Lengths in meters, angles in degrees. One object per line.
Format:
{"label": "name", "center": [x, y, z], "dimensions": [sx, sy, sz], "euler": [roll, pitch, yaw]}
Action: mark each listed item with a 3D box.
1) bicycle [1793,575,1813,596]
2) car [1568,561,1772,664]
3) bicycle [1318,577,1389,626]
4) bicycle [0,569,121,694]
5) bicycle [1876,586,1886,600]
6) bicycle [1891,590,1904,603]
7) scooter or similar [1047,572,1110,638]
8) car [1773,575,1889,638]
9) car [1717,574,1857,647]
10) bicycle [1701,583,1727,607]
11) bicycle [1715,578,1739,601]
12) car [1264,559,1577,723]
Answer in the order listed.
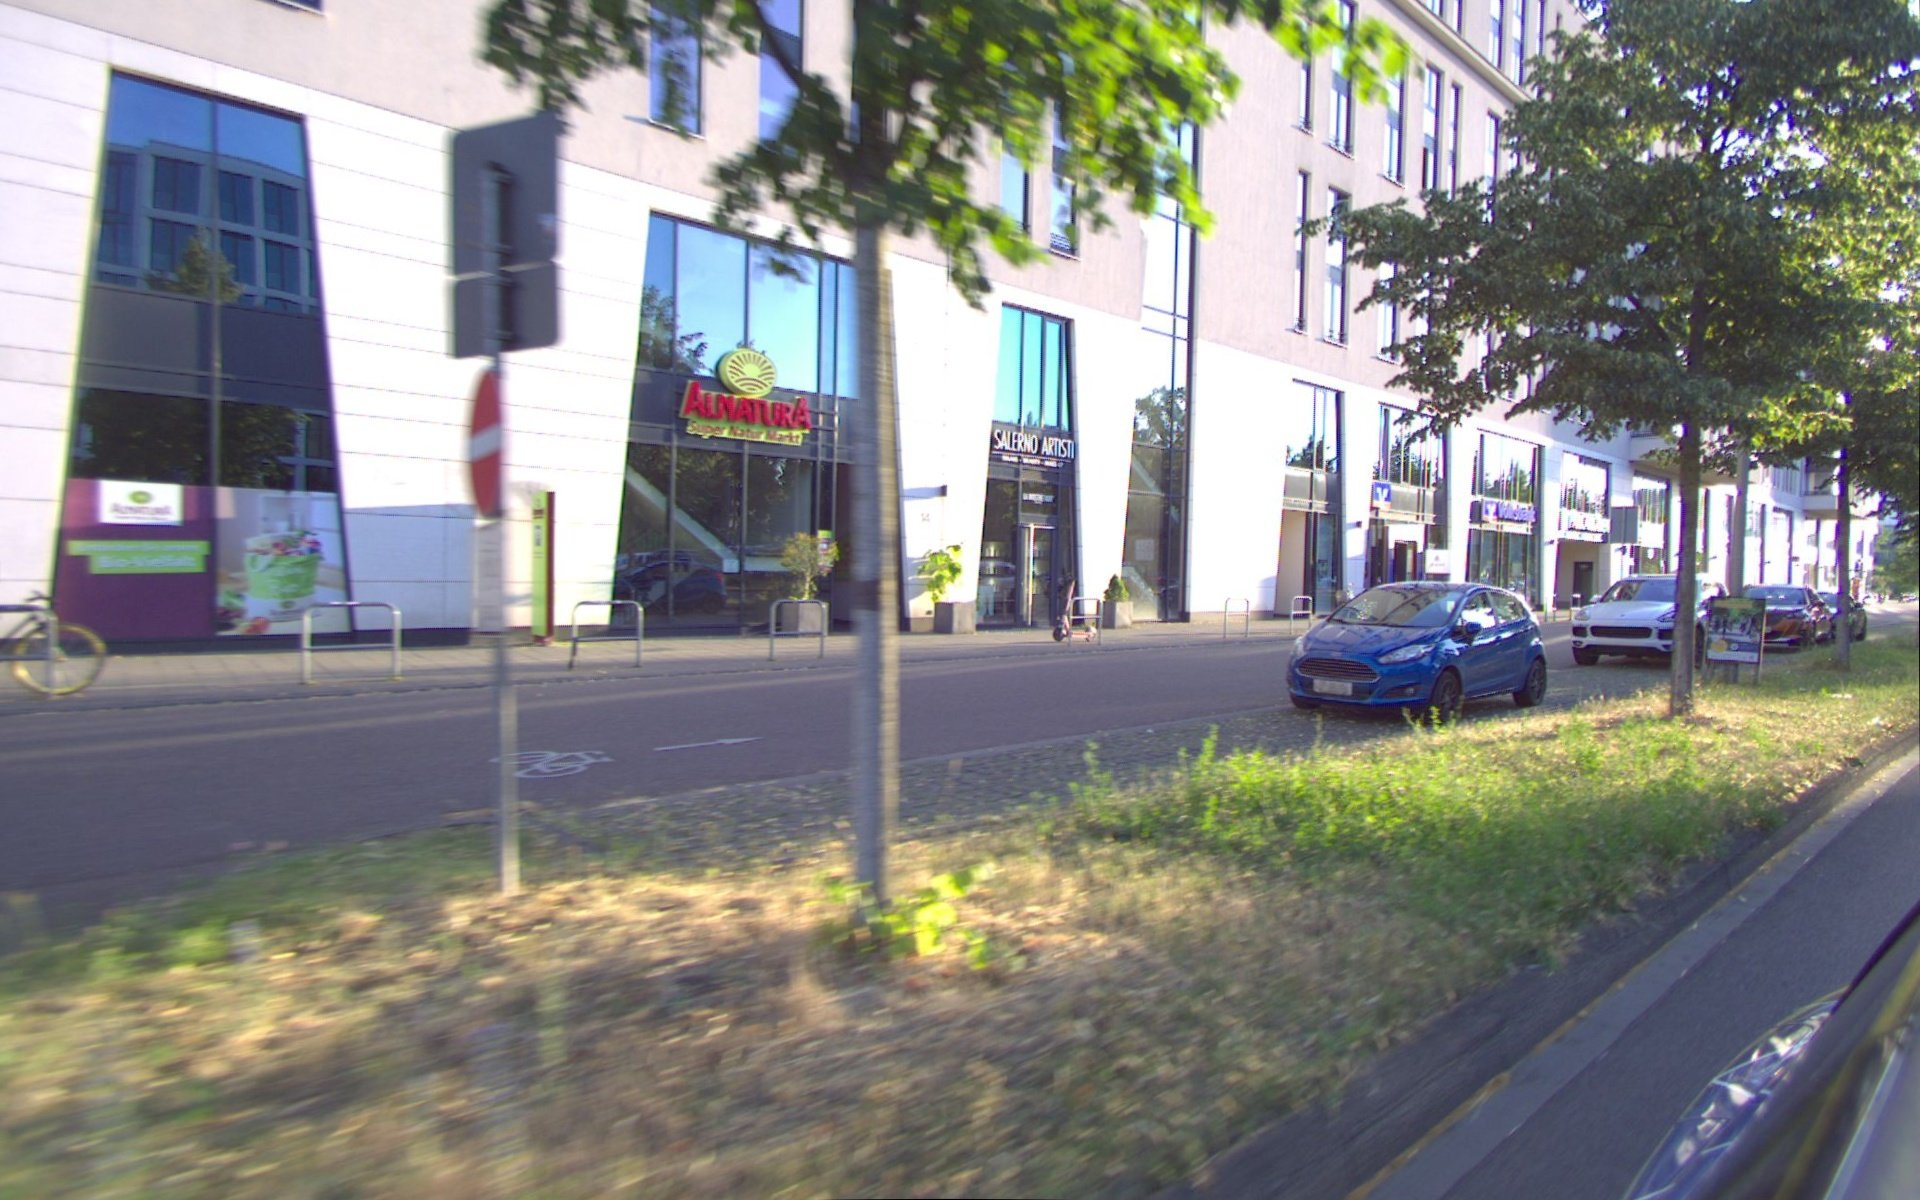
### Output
{"label": "bicycle", "center": [50.313, -0.875, 60.389], "dimensions": [1.749, 1.178, 0.539], "euler": [0, 4, -41]}
{"label": "car", "center": [13.672, 0.180, 19.352], "dimensions": [5.067, 1.736, 1.955], "euler": [0, 1, -40]}
{"label": "bicycle", "center": [9.690, 0.046, 24.899], "dimensions": [1.796, 1.138, 0.573], "euler": [1, 3, -30]}
{"label": "bicycle", "center": [-8.715, 0.278, 8.998], "dimensions": [1.925, 1.073, 0.519], "euler": [-1, 5, -40]}
{"label": "bicycle", "center": [74.280, -0.556, 81.593], "dimensions": [0.533, 1.073, 1.587], "euler": [2, 2, 43]}
{"label": "bicycle", "center": [78.429, -0.275, 84.641], "dimensions": [2.223, 1.046, 0.621], "euler": [0, 2, -42]}
{"label": "scooter or similar", "center": [2.236, 0.086, 19.046], "dimensions": [1.287, 1.201, 0.357], "euler": [0, 3, -40]}
{"label": "car", "center": [24.612, 0.130, 28.543], "dimensions": [4.731, 1.568, 1.946], "euler": [-1, 3, -43]}
{"label": "car", "center": [19.404, 0.188, 23.685], "dimensions": [4.405, 1.549, 1.857], "euler": [0, 1, -41]}
{"label": "bicycle", "center": [35.356, -0.214, 47.464], "dimensions": [1.824, 1.073, 0.534], "euler": [0, 4, -41]}
{"label": "bicycle", "center": [37.140, -0.510, 48.998], "dimensions": [1.824, 1.074, 0.534], "euler": [0, 2, -41]}
{"label": "car", "center": [5.418, 0.362, 11.655], "dimensions": [4.194, 1.549, 1.727], "euler": [0, 1, -41]}
